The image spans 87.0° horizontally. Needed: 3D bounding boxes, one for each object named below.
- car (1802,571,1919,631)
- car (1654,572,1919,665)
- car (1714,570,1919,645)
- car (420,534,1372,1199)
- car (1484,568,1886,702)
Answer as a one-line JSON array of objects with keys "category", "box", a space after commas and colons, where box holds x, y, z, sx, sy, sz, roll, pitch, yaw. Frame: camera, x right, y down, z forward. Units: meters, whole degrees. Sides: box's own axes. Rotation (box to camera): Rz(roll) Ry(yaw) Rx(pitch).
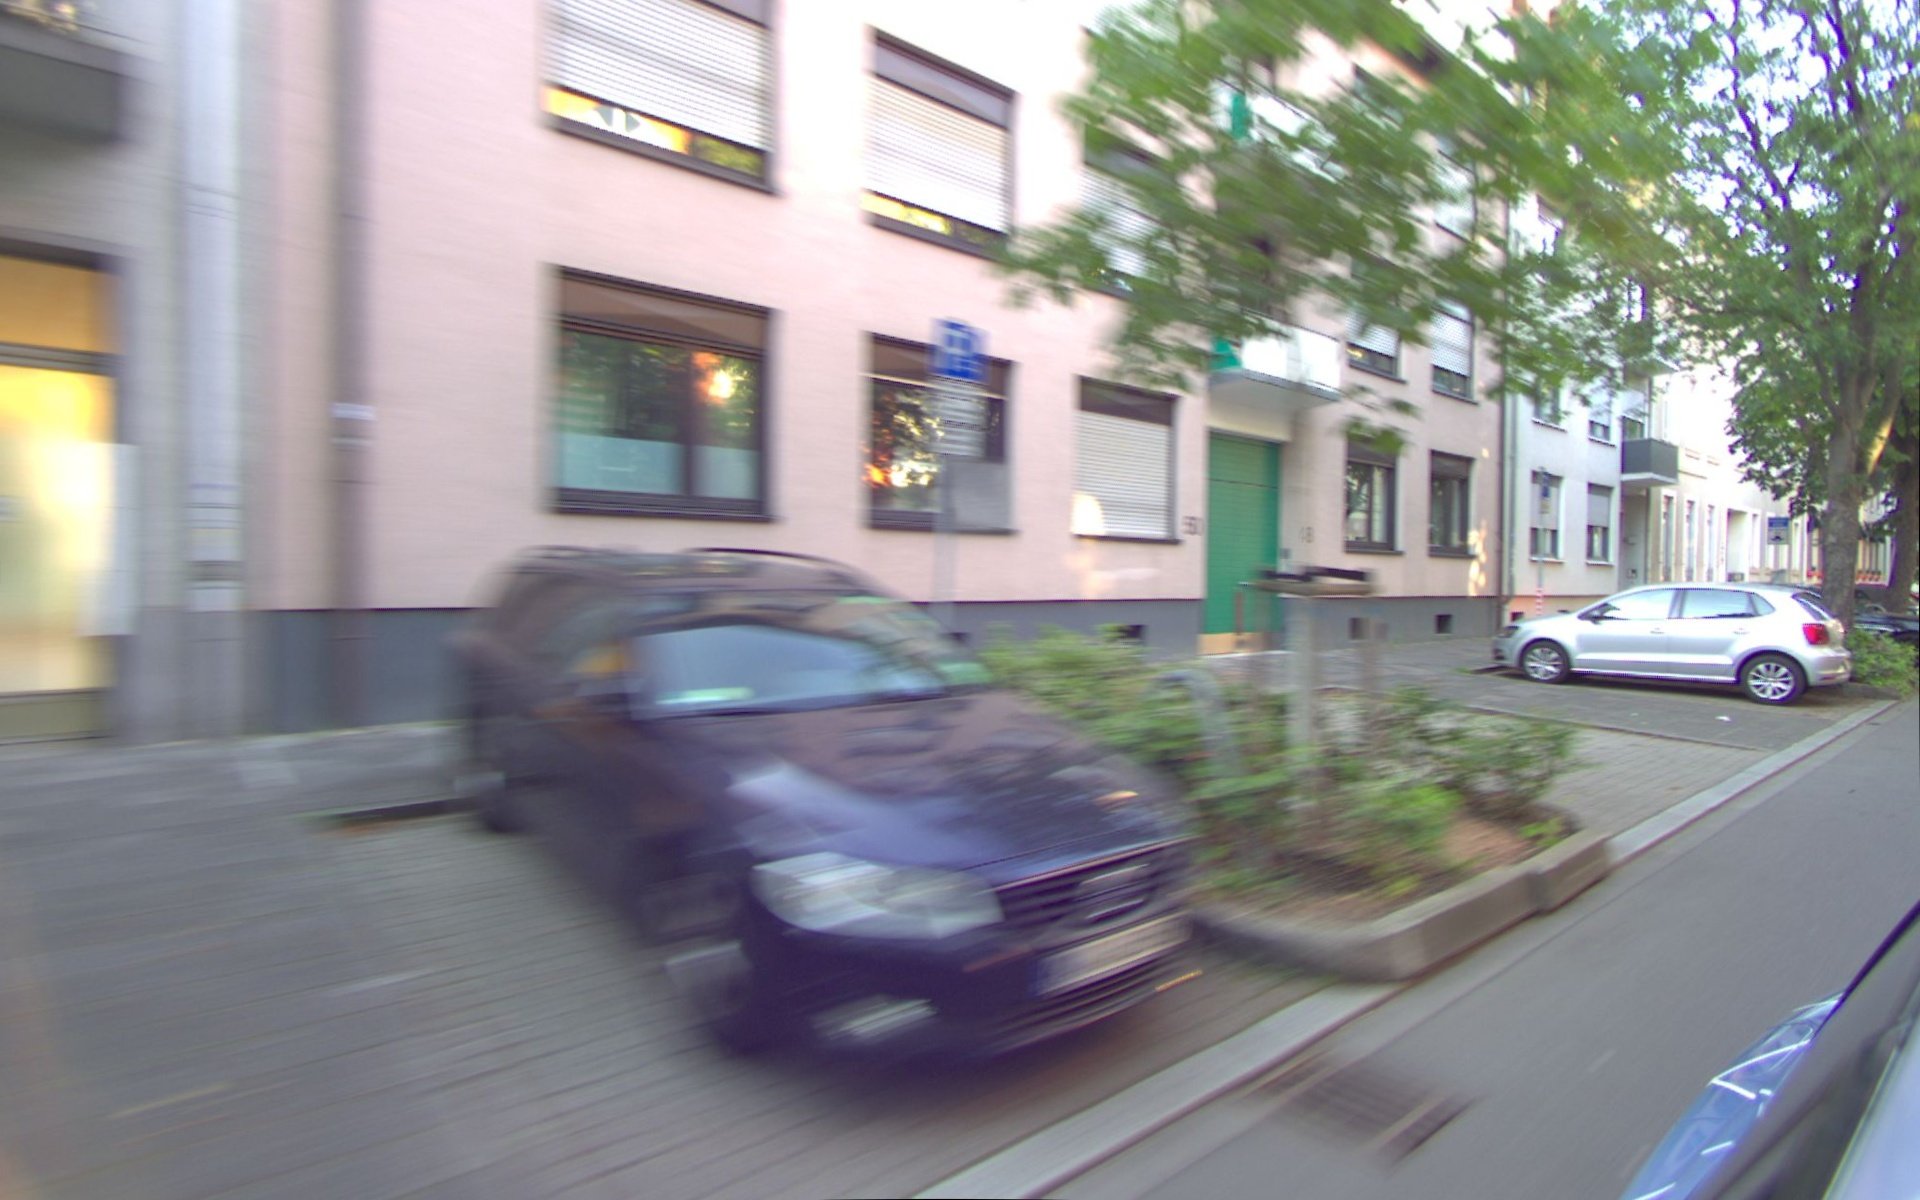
[{"category": "car", "box": [25.331, -0.009, 27.402, 1.725, 1.572, 3.726, -1, 2, -43]}, {"category": "car", "box": [15.664, 0.266, 18.239, 1.953, 1.515, 4.884, -1, 2, -40]}, {"category": "car", "box": [18.830, 0.106, 21.874, 1.685, 1.428, 3.838, -1, 3, -45]}, {"category": "car", "box": [-0.917, 0.478, 4.680, 2.005, 1.465, 4.855, -1, 4, -38]}, {"category": "car", "box": [9.455, 0.330, 13.449, 1.768, 1.509, 4.086, -1, 2, -43]}]
